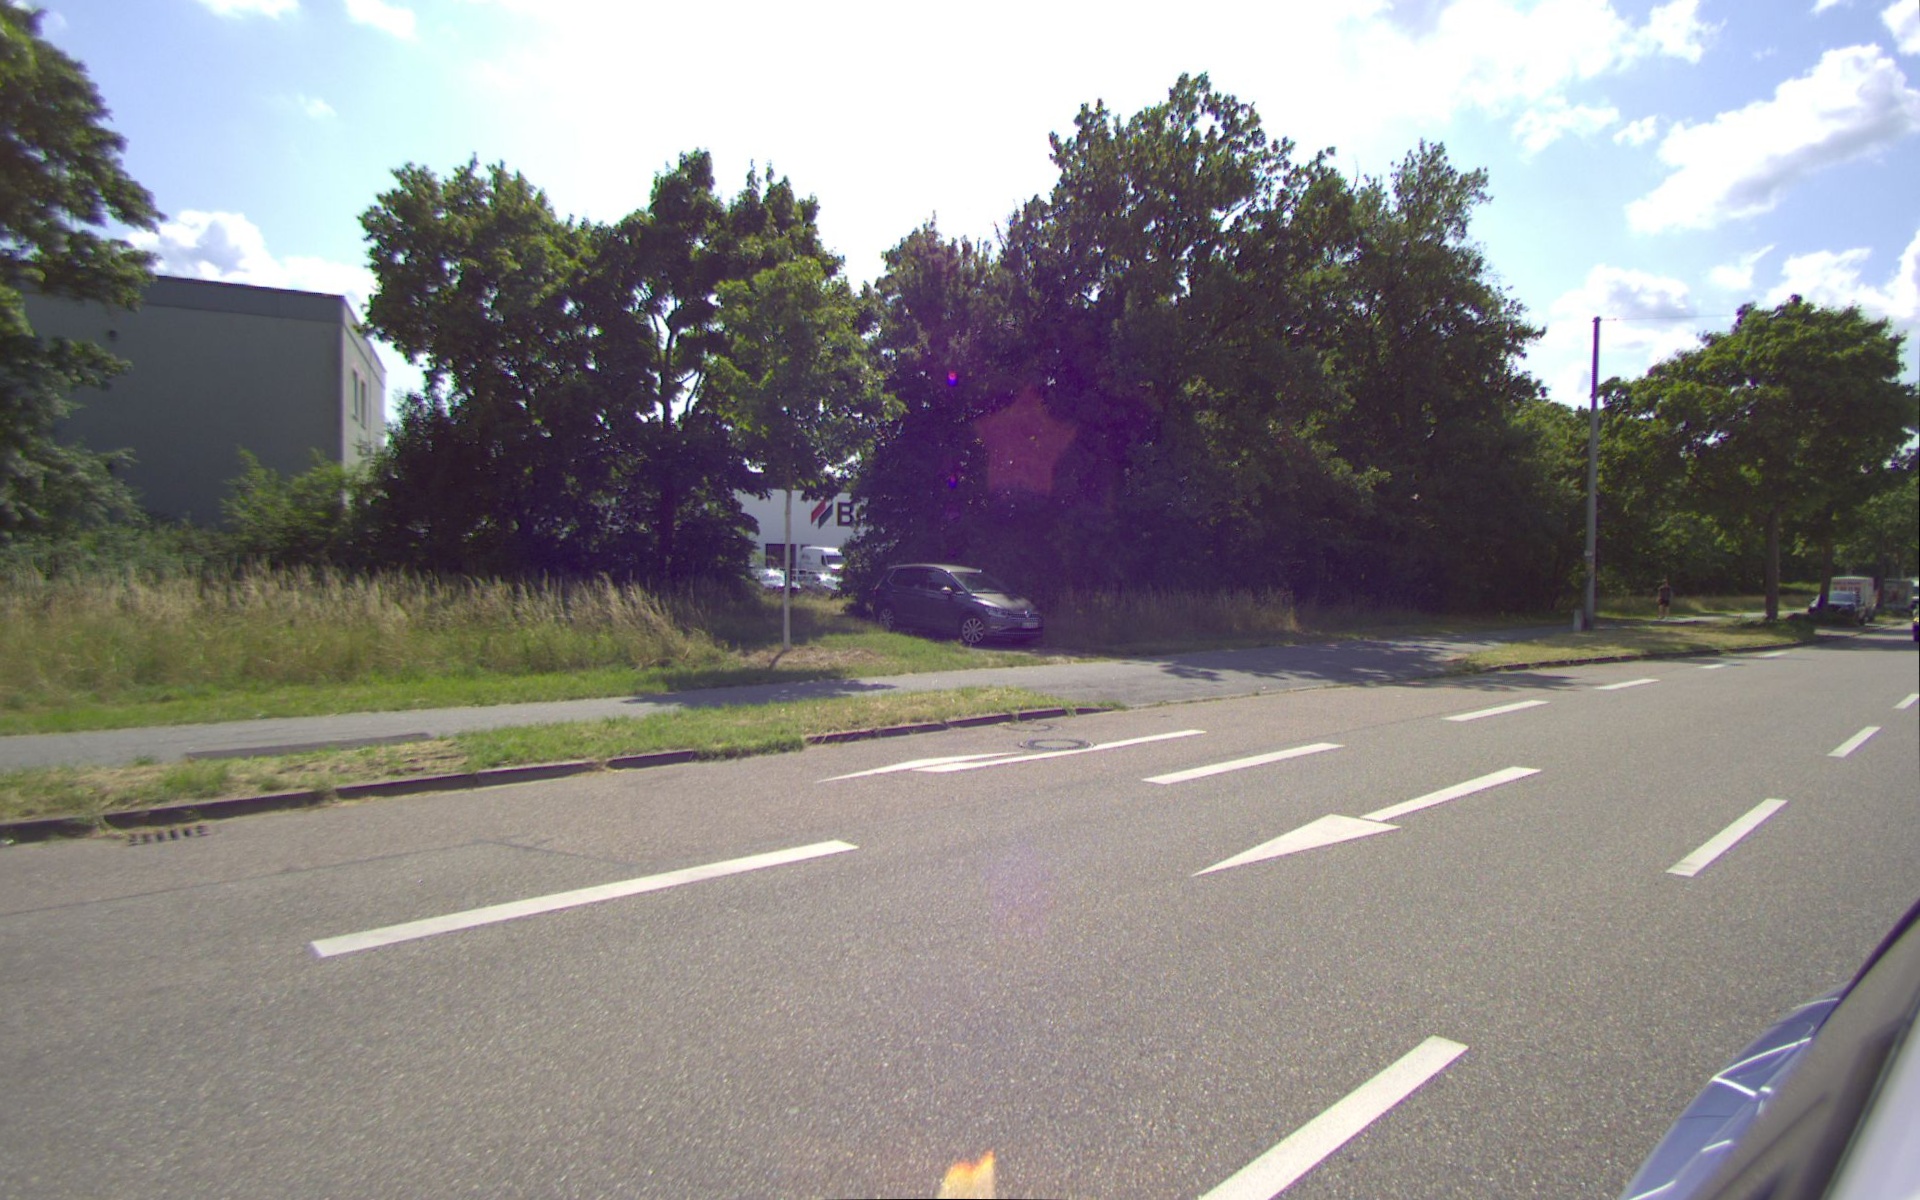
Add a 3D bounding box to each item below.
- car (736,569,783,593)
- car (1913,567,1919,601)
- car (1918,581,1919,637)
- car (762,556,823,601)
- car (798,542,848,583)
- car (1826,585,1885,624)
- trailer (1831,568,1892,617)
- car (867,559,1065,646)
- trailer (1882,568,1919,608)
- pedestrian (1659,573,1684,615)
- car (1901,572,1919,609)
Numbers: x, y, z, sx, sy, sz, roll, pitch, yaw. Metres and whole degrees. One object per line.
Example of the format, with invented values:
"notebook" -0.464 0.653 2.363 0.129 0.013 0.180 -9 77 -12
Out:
"car" -15.436 -1.464 77.717 2.113 1.729 4.955 -1 0 -28
"car" 83.065 -1.366 86.155 6.655 2.836 2.260 -2 4 -43
"car" 33.167 0.280 33.312 4.633 1.808 1.934 0 -1 -41
"car" -11.941 -1.500 71.703 2.617 2.989 5.362 -1 0 -28
"car" -10.589 -2.816 77.863 1.960 2.956 5.362 -1 0 -28
"car" 42.770 0.184 48.325 4.287 1.711 1.593 -2 3 -42
"trailer" 47.118 -0.424 52.891 4.530 2.380 1.955 -1 3 -44
"car" 0.047 0.005 21.731 1.755 1.511 4.167 2 3 -45
"trailer" 62.374 -0.821 66.534 4.701 2.393 1.998 -1 6 -42
"pedestrian" 31.404 -0.262 44.667 0.727 1.816 0.718 -1 0 -43
"car" 73.583 -0.760 77.156 6.048 2.729 2.177 -2 0 -43
